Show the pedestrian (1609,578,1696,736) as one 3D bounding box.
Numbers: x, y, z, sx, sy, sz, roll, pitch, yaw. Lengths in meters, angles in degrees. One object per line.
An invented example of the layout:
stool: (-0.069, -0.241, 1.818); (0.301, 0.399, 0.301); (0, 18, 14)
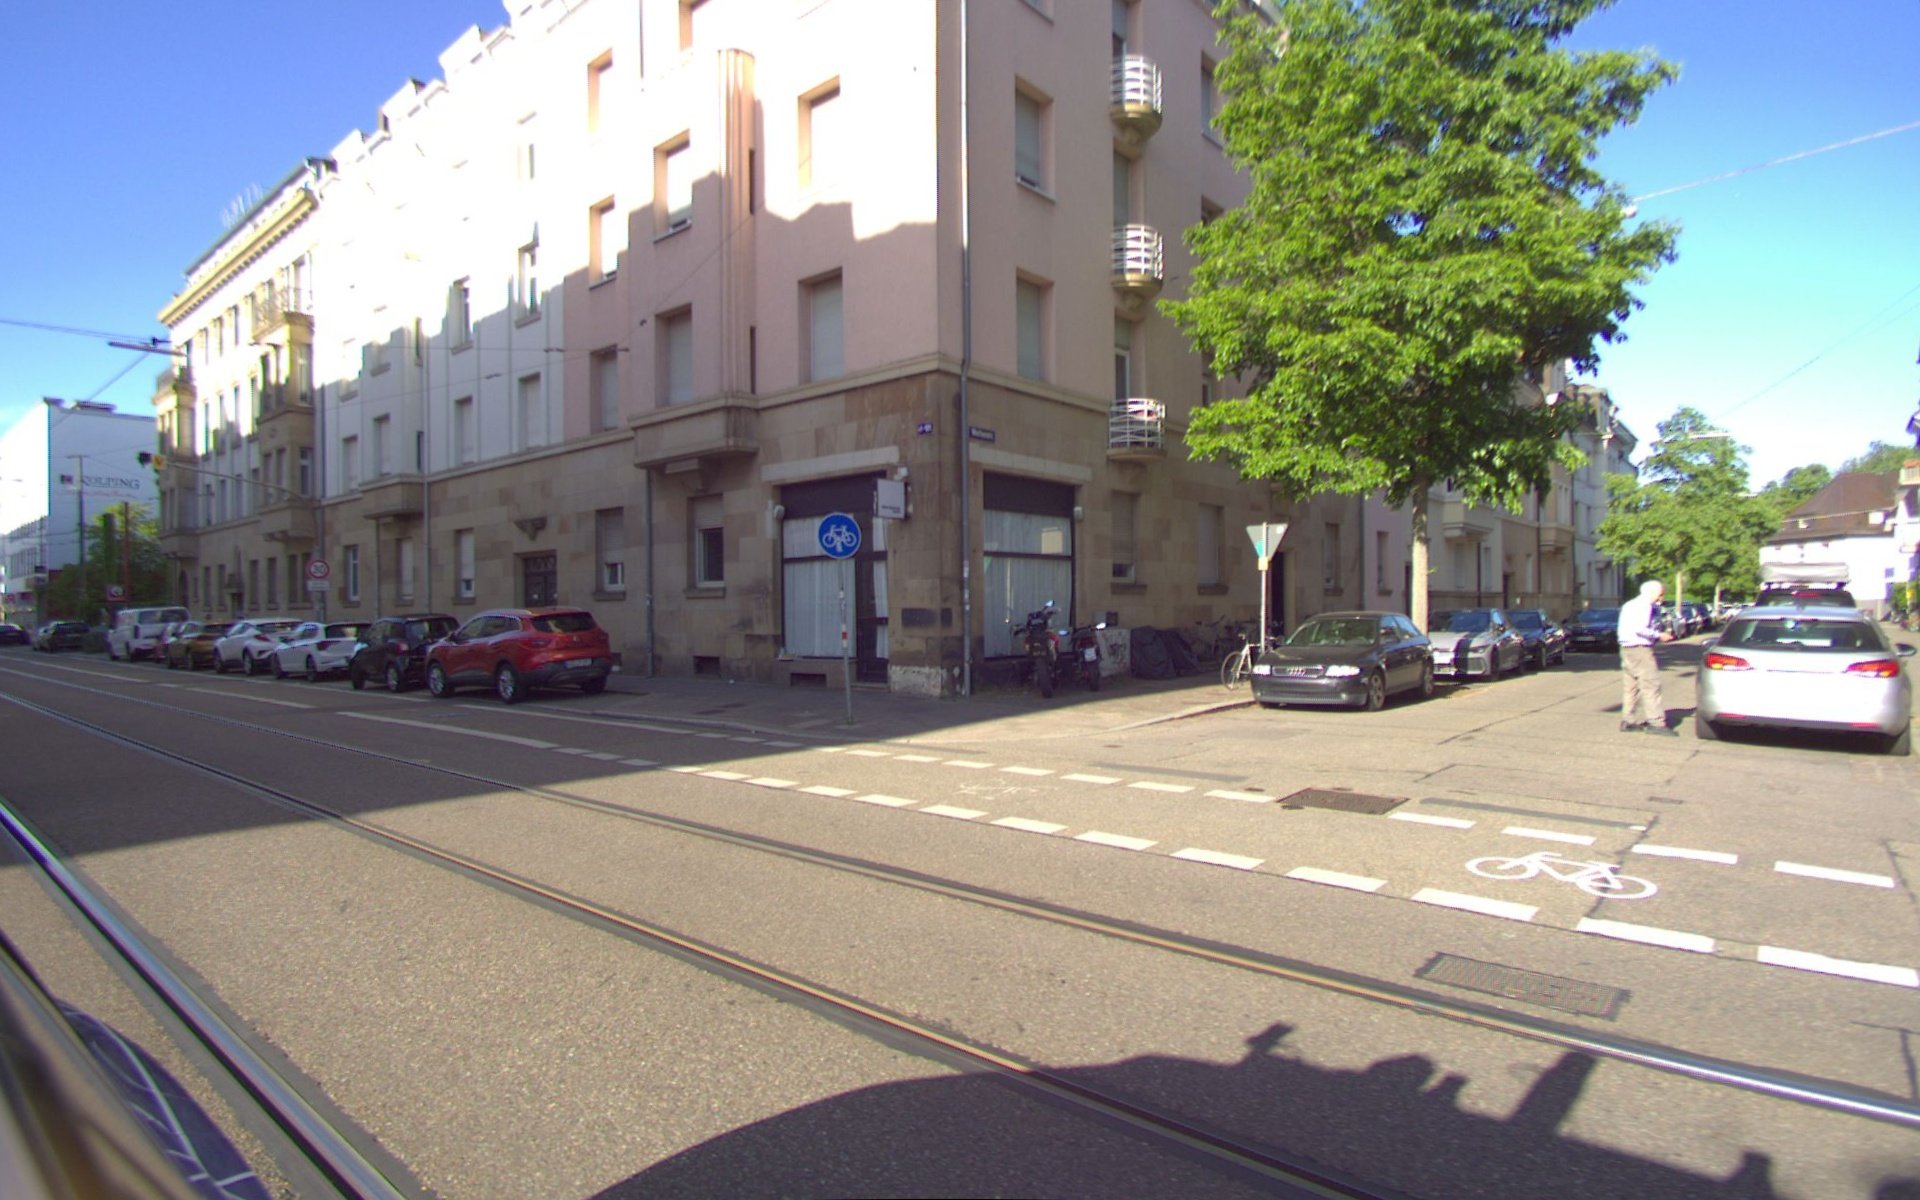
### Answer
pedestrian: (7.902, 0.633, 11.558); (0.731, 1.725, 0.600); (-2, -1, 41)

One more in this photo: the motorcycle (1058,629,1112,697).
motorcycle: (2.118, 1.041, 17.307); (0.549, 1.043, 2.037); (-1, -1, -3)

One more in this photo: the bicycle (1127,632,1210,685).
bicycle: (4.043, 1.107, 19.578); (1.763, 0.940, 0.615); (0, -1, -41)

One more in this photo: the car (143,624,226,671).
car: (-27.325, 1.630, 35.628); (3.644, 1.484, 1.586); (-1, 1, 41)

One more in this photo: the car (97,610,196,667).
car: (-31.365, 1.447, 38.953); (5.248, 1.963, 1.953); (-1, 1, 40)

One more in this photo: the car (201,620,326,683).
car: (-19.884, 1.413, 28.819); (4.361, 1.558, 1.754); (-1, 1, 39)

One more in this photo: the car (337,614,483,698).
car: (-11.715, 1.136, 21.521); (3.018, 1.564, 1.765); (-1, 1, 41)

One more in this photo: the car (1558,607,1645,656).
car: (20.290, 0.975, 31.947); (1.746, 1.432, 3.946); (-3, -2, 40)

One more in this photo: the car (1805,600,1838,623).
car: (63.750, 0.855, 74.901); (1.781, 1.590, 3.946); (-3, -2, 40)

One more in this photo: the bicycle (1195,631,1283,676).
bicycle: (6.154, 1.166, 22.232); (2.439, 0.940, 0.615); (2, -3, -41)

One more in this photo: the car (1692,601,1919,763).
car: (9.513, 0.781, 11.333); (1.781, 1.476, 4.174); (-3, -2, 40)

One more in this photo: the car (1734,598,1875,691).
car: (16.206, 0.801, 19.463); (1.858, 1.593, 3.946); (-3, -2, 40)

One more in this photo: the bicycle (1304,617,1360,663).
bicycle: (9.957, 1.063, 27.034); (0.614, 1.172, 2.444); (-1, -3, 40)

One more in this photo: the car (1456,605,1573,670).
car: (13.424, 0.884, 24.407); (1.746, 1.432, 3.665); (-3, -2, 40)

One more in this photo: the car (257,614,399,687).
car: (-16.093, 1.225, 25.708); (4.175, 1.634, 1.766); (-1, 1, 39)

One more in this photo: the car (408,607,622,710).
car: (-8.272, 1.001, 18.637); (4.392, 1.618, 1.766); (-1, 1, 39)

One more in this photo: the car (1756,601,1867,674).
car: (19.830, 0.838, 23.612); (1.781, 1.533, 3.946); (-3, -2, 40)

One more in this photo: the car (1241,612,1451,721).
car: (5.964, 0.921, 15.376); (1.746, 1.405, 3.946); (-3, -2, 40)

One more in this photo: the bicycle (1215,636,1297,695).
bicycle: (5.157, 1.114, 17.572); (1.763, 0.940, 0.476); (0, -1, -41)

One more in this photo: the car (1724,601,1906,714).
car: (12.831, 0.790, 15.272); (1.840, 1.476, 3.757); (-3, -2, 40)

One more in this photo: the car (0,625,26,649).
car: (-63.262, 2.441, 66.859); (4.839, 1.456, 1.765); (-1, 1, 41)

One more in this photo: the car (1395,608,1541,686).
car: (10.422, 0.910, 20.620); (1.746, 1.405, 3.946); (-3, -2, 40)

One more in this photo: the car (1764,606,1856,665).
car: (23.462, 0.953, 27.964); (1.781, 1.476, 3.946); (-3, -2, 40)

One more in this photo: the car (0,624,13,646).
car: (-67.744, 2.463, 70.713); (4.696, 1.492, 1.765); (-1, 1, 41)

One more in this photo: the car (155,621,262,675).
car: (-24.051, 1.495, 32.321); (4.357, 1.535, 1.765); (-1, 1, 40)

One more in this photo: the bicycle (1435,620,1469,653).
bicycle: (17.120, 1.277, 35.204); (0.613, 1.095, 2.446); (-1, -3, 37)

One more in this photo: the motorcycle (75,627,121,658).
motorcycle: (-39.940, 1.965, 46.913); (0.871, 1.361, 1.963); (-1, 0, -17)

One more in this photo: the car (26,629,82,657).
car: (-49.014, 2.292, 54.719); (4.219, 1.323, 1.765); (-1, 1, 41)

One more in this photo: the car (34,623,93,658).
car: (-45.251, 1.995, 51.062); (4.610, 1.577, 1.764); (-1, 1, 43)

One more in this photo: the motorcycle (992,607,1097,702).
motorcycle: (1.321, 0.838, 16.376); (0.934, 1.429, 2.032); (0, -1, -19)

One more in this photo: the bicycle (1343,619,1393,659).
bicycle: (11.728, 1.116, 29.049); (0.614, 1.095, 2.444); (-1, -3, 40)
